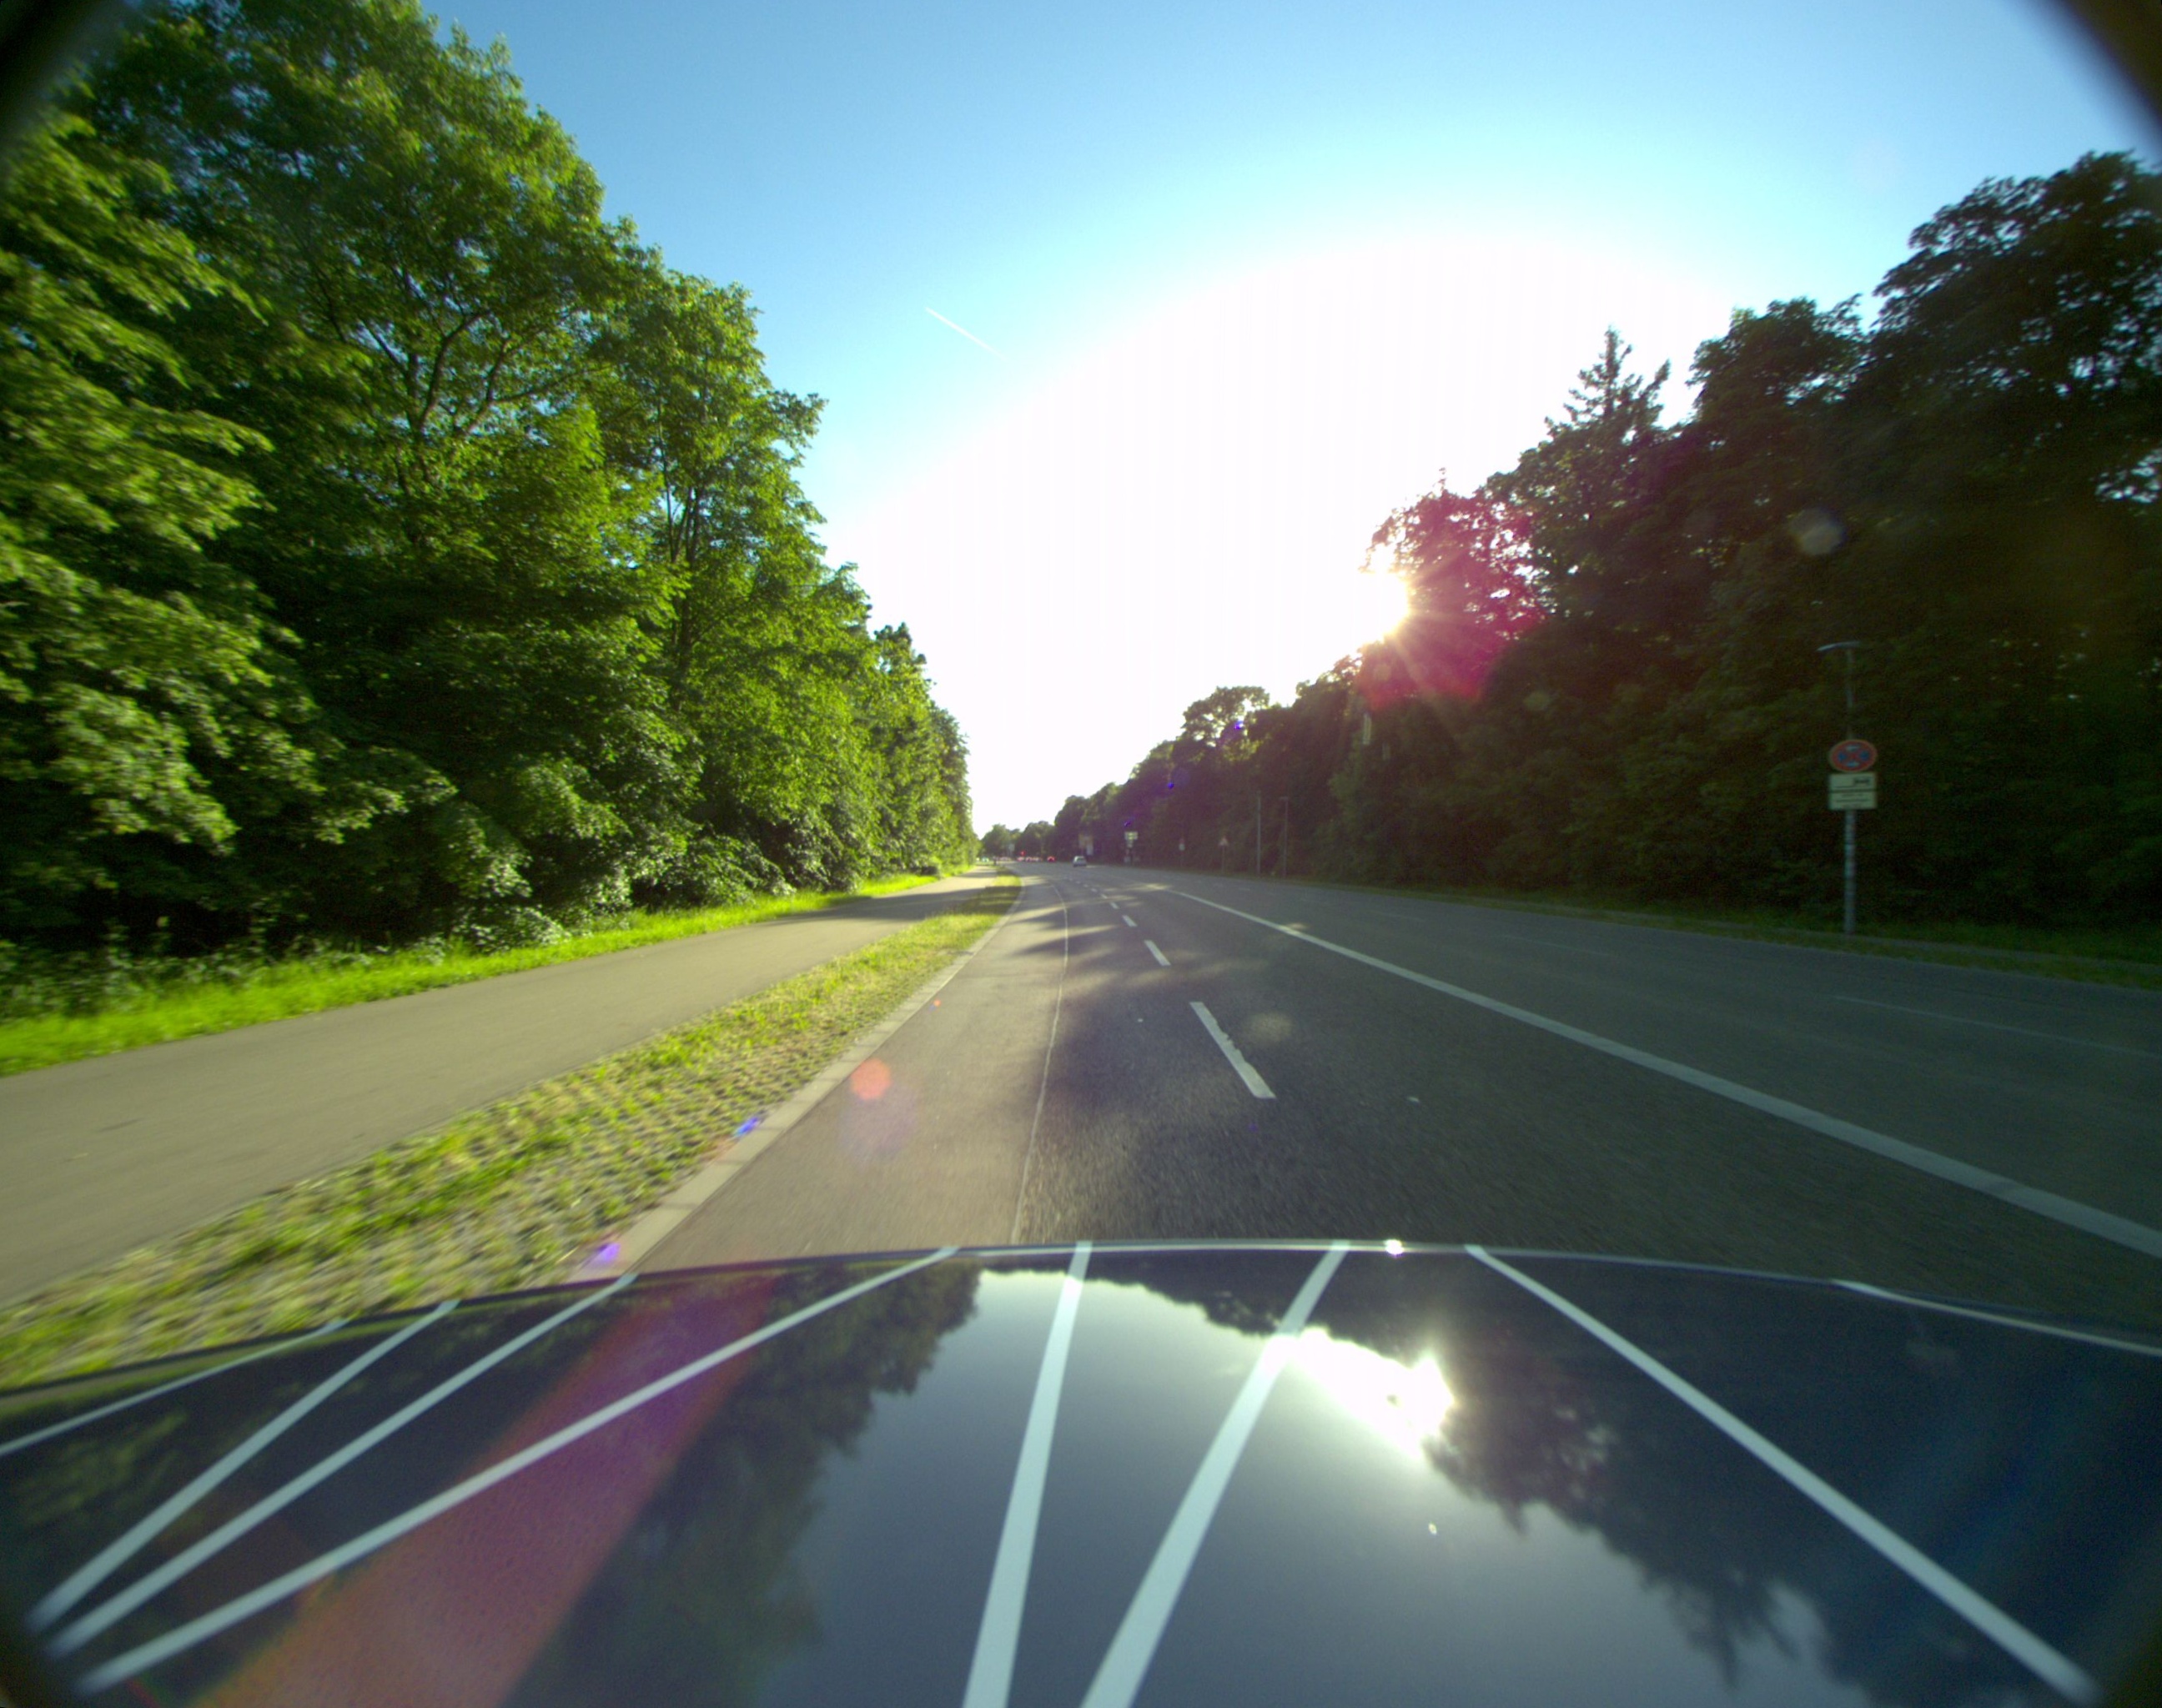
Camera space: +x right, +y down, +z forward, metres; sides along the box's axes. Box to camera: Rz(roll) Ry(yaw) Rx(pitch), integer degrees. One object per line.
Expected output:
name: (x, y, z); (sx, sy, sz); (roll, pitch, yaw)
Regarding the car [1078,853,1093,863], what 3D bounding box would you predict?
car: (0.643, 0.618, 119.293); (1.744, 1.449, 3.996); (-2, 0, -7)
